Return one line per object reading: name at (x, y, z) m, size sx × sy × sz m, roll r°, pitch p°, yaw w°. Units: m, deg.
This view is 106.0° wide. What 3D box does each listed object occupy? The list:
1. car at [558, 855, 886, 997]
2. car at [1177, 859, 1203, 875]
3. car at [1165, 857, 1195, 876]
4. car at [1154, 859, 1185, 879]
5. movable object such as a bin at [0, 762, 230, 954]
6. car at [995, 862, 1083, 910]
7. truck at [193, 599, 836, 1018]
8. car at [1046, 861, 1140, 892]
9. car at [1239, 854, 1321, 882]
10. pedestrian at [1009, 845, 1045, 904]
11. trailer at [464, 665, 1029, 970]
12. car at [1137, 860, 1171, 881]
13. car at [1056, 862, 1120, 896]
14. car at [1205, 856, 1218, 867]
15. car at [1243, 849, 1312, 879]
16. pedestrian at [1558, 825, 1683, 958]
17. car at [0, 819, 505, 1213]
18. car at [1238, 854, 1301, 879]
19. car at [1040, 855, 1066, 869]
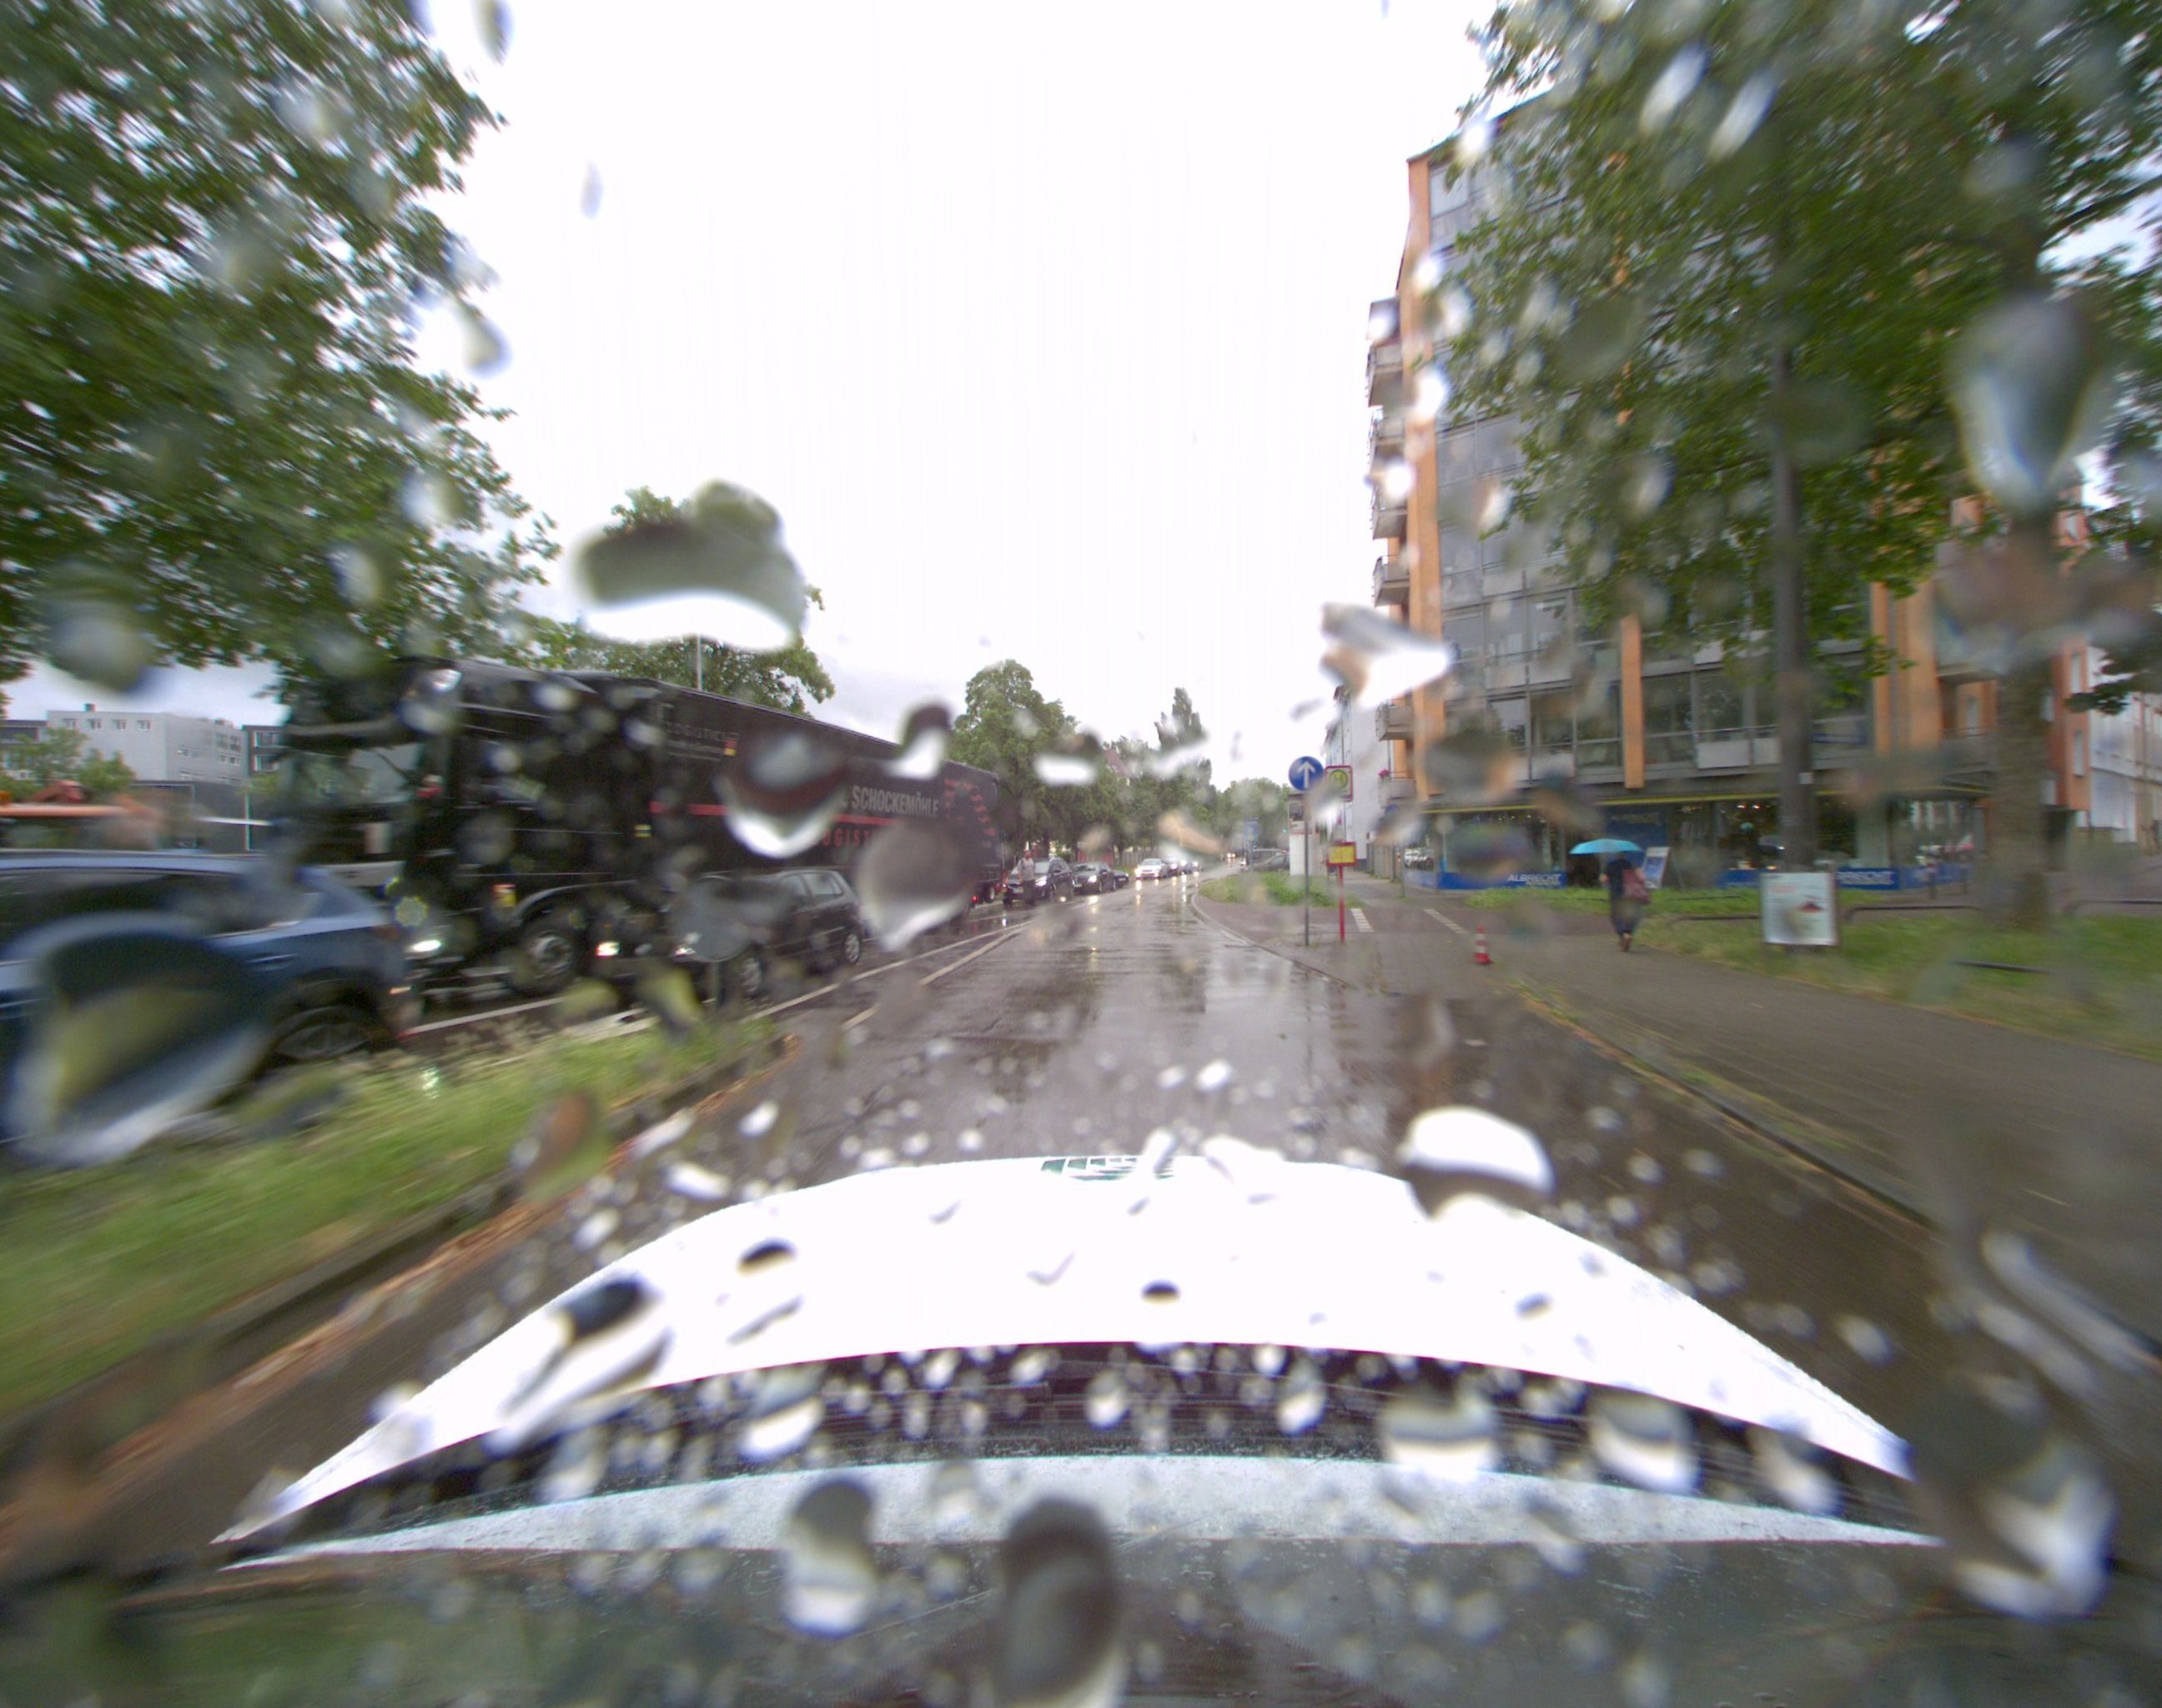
car at (-4.132, 0.737, 10.228) m, size 1.687 × 1.373 × 4.112 m, roll -1°, pitch 0°, yaw 11°
car at (10.197, 1.201, 76.091) m, size 1.659 × 1.383 × 4.271 m, roll -1°, pitch 0°, yaw 18°
car at (8.587, 1.061, 70.243) m, size 1.900 × 1.639 × 4.841 m, roll -1°, pitch -1°, yaw 15°
car at (6.958, 1.122, 63.569) m, size 1.766 × 1.420 × 4.281 m, roll -2°, pitch 0°, yaw 14°
movable object such as a bin at (-19.023, 0.102, 14.815) m, size 6.695 × 2.930 × 2.791 m, roll -1°, pitch 0°, yaw 24°
car at (-1.466, 1.181, 30.419) m, size 1.853 × 1.620 × 4.821 m, roll -2°, pitch -2°, yaw 15°
truck at (-6.976, -0.429, 11.719) m, size 3.425 × 4.078 × 7.000 m, roll -1°, pitch 0°, yaw 14°
car at (0.584, 1.175, 42.768) m, size 2.098 × 1.454 × 4.867 m, roll -1°, pitch 0°, yaw -44°
car at (11.491, 0.825, 47.080) m, size 4.500 × 1.470 × 1.991 m, roll -2°, pitch -1°, yaw 14°
pedestrian at (-1.770, 0.662, 26.559) m, size 0.872 × 1.843 × 0.984 m, roll -1°, pitch -1°, yaw -23°
trailer at (-5.225, -0.457, 18.524) m, size 3.417 × 4.049 × 15.108 m, roll -2°, pitch 0°, yaw 14°
car at (5.118, 1.117, 56.519) m, size 1.762 × 1.403 × 4.846 m, roll -1°, pitch -1°, yaw 13°
car at (0.382, 1.078, 36.567) m, size 1.713 × 1.361 × 4.355 m, roll -2°, pitch 0°, yaw 16°
car at (20.287, 1.197, 126.760) m, size 1.766 × 1.530 × 4.009 m, roll 0°, pitch 1°, yaw 7°
car at (12.829, 0.662, 53.416) m, size 4.205 × 1.805 × 1.950 m, roll -2°, pitch -1°, yaw 10°
pedestrian at (8.012, 0.535, 12.193) m, size 1.161 × 1.865 × 1.391 m, roll -1°, pitch -1°, yaw 16°
car at (-5.627, 0.673, 3.688) m, size 2.062 × 1.682 × 4.942 m, roll 1°, pitch 1°, yaw 8°
car at (12.943, 0.858, 56.022) m, size 4.161 × 1.568 × 1.895 m, roll -1°, pitch -1°, yaw 12°
car at (-3.289, 0.965, 95.622) m, size 1.852 × 1.573 × 3.971 m, roll 0°, pitch -2°, yaw -21°
